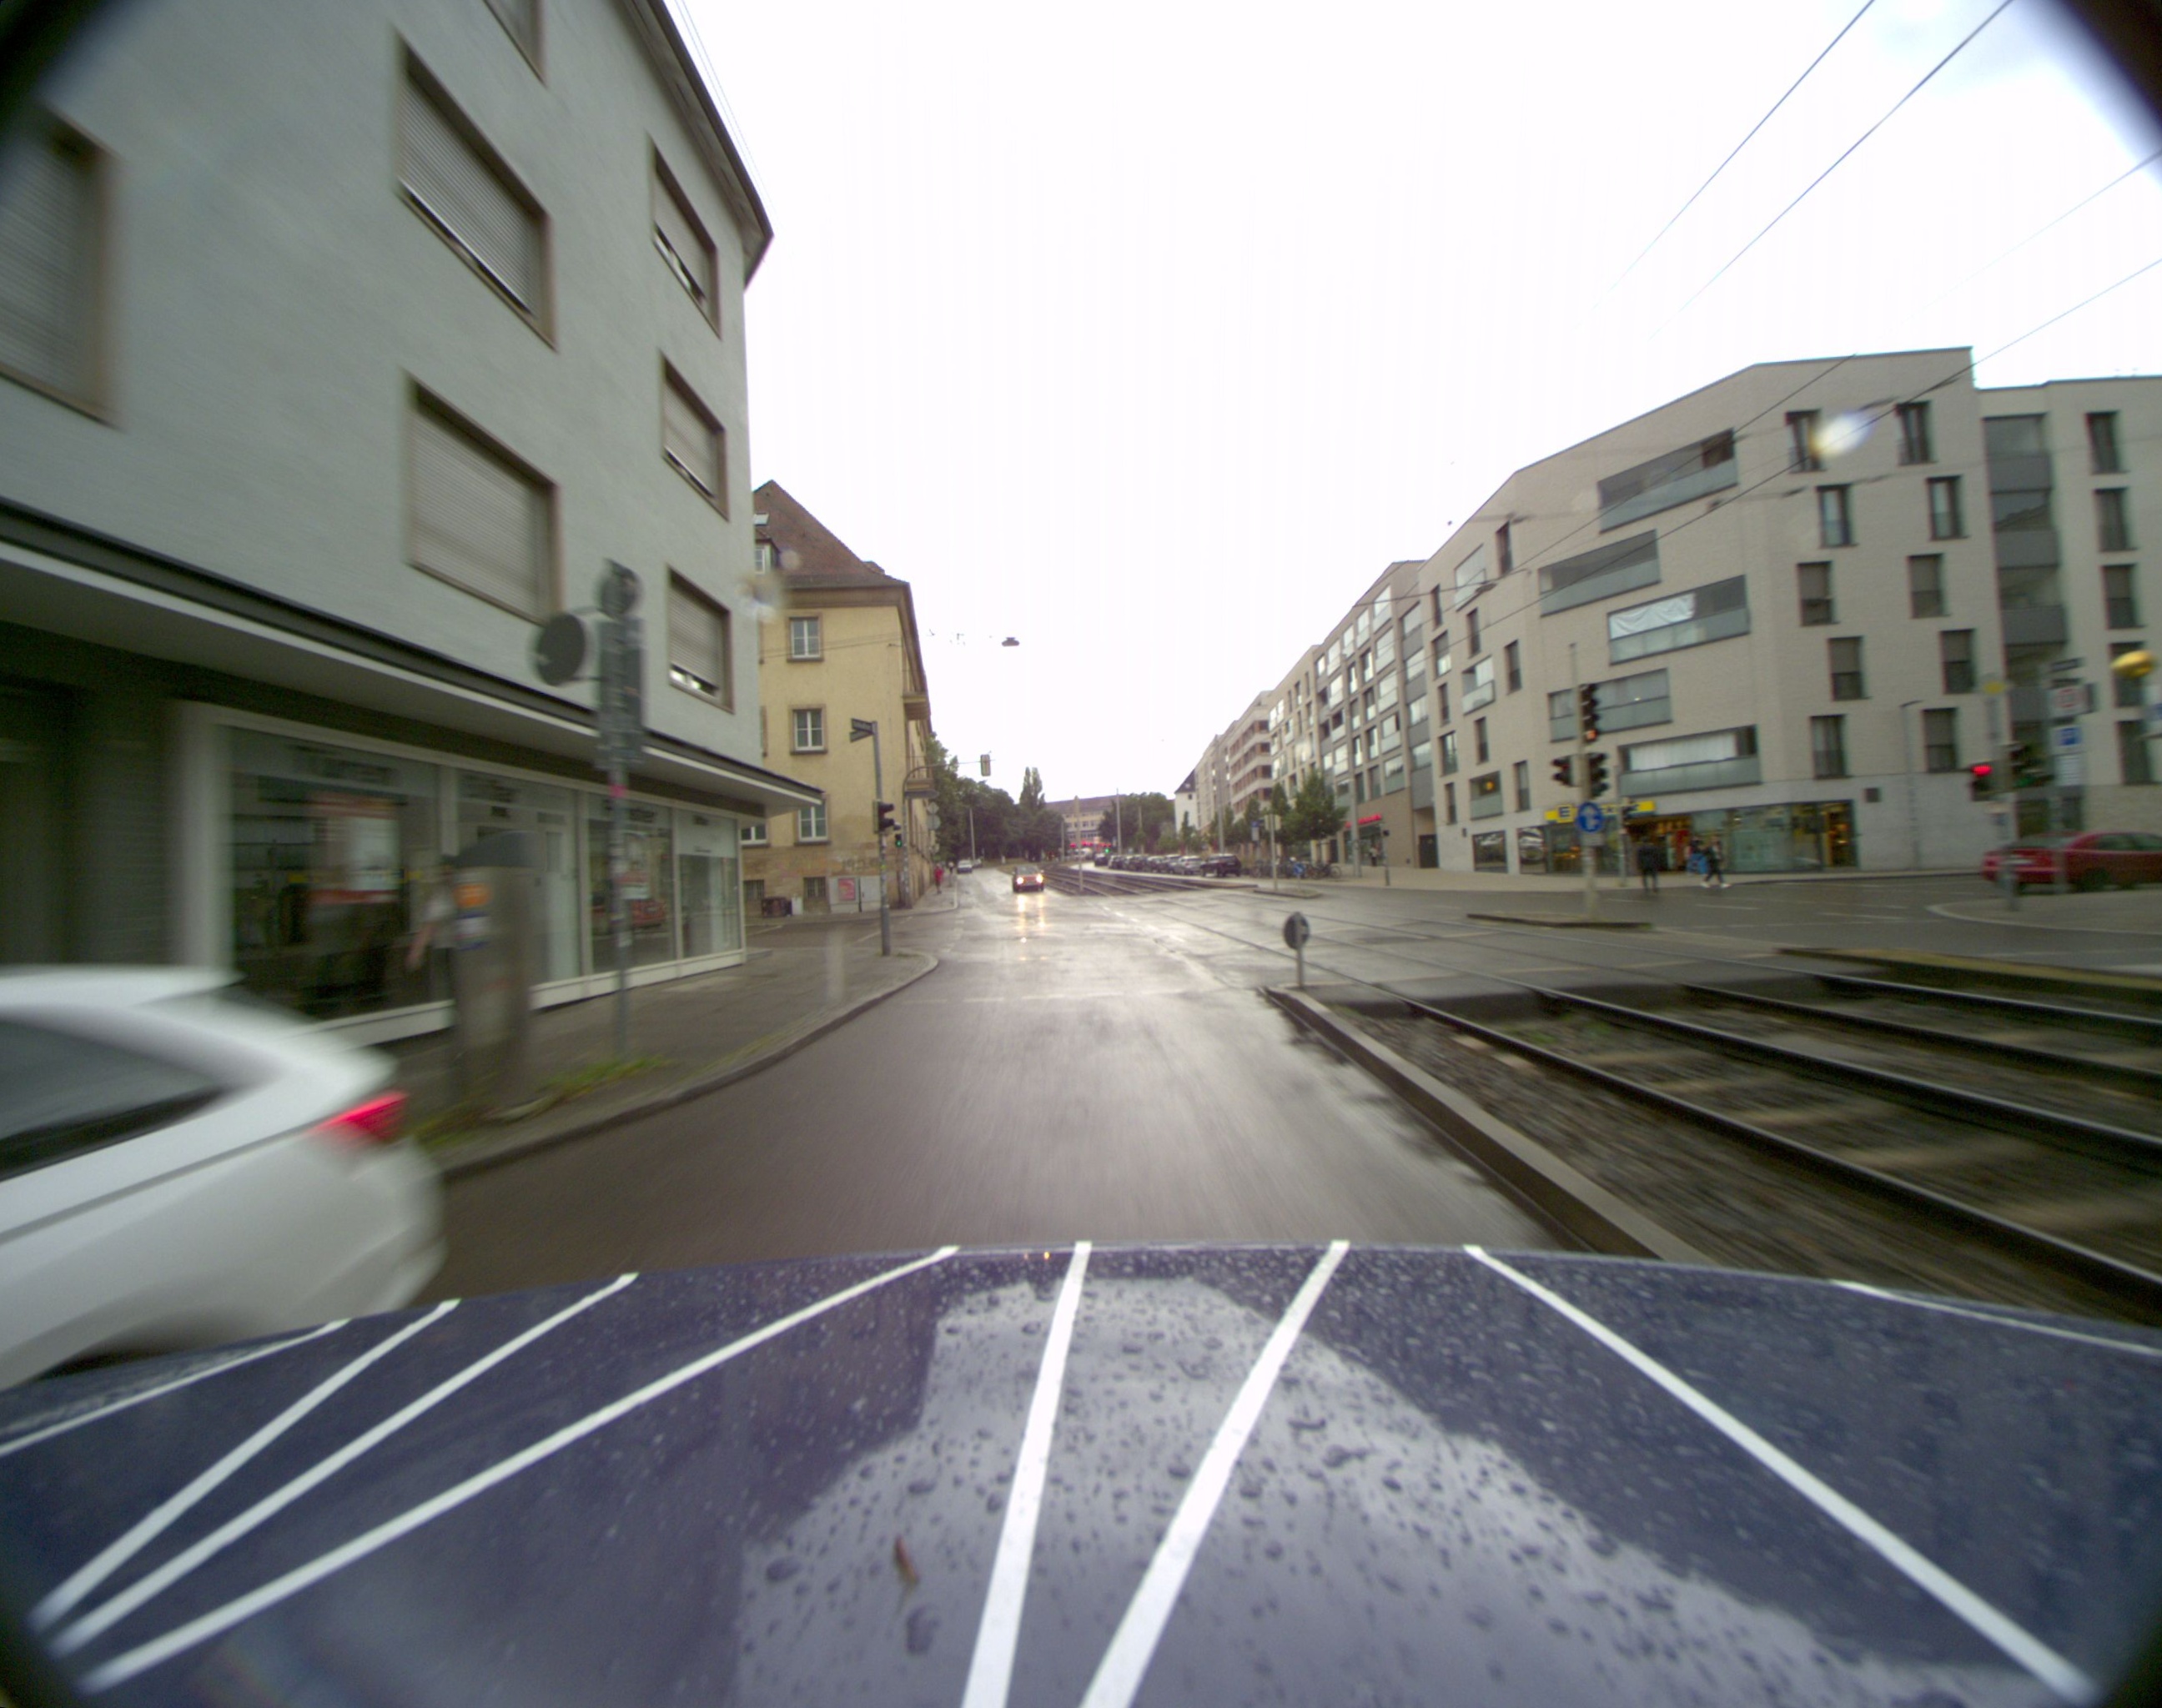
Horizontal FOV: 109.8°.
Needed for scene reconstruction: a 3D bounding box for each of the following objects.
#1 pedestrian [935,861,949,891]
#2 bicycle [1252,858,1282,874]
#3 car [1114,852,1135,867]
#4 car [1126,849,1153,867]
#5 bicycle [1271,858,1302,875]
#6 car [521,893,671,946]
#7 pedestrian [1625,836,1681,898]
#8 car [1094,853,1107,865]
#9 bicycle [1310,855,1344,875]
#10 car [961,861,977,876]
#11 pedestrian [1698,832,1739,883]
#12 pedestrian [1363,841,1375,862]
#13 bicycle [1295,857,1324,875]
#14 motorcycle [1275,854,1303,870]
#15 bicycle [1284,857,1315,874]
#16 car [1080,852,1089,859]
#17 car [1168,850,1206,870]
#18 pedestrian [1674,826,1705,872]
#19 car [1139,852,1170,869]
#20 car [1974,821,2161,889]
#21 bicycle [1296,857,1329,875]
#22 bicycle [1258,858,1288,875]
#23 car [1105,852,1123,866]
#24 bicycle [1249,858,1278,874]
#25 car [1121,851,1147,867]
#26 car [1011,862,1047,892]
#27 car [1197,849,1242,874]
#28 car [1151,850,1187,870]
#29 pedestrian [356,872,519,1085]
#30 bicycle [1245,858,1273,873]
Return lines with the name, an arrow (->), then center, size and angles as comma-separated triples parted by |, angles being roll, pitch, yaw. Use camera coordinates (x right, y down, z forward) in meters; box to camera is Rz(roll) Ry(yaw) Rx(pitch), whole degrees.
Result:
pedestrian -> -8.167, 1.293, 44.720 | 0.749, 1.754, 0.818 | 1, 1, -10
bicycle -> 11.759, 0.759, 48.020 | 1.790, 0.912, 0.387 | -3, 1, -13
car -> 4.776, 0.547, 84.571 | 1.685, 1.496, 4.402 | -4, 1, -5
car -> 5.725, 0.389, 75.066 | 1.685, 1.554, 3.925 | -4, 1, -10
bicycle -> 12.398, 0.750, 45.922 | 1.790, 0.912, 0.387 | -4, 1, -13
car -> -16.112, 2.174, 25.373 | 3.858, 1.510, 1.765 | -1, 2, 3
pedestrian -> 17.433, 0.377, 23.169 | 0.933, 1.819, 0.959 | -2, 1, -7
car -> 2.769, 0.718, 109.246 | 1.655, 1.456, 3.669 | -5, 1, 0
bicycle -> 13.710, 0.617, 42.392 | 1.790, 0.975, 0.440 | -4, 1, -13
car -> -14.534, 1.868, 98.374 | 1.727, 1.676, 3.862 | -5, 1, -10
pedestrian -> 20.230, 0.115, 24.114 | 0.649, 1.560, 0.775 | -6, 2, -36
pedestrian -> 20.913, -0.193, 55.150 | 0.540, 1.441, 0.803 | -5, 2, 3
bicycle -> 13.279, 0.671, 44.155 | 1.791, 0.912, 0.386 | -4, 1, -26
motorcycle -> 13.973, 0.537, 51.107 | 1.765, 1.037, 0.542 | -2, 2, -12
bicycle -> 12.967, 0.668, 45.077 | 1.790, 0.912, 0.387 | -3, 1, -17
car -> 0.830, 0.336, 186.662 | 1.667, 1.598, 3.809 | -5, 1, 6
car -> 8.408, 0.440, 60.440 | 1.685, 1.456, 4.325 | -4, 1, -10
pedestrian -> 23.267, -0.190, 29.059 | 0.706, 1.701, 0.584 | -4, 1, -23
car -> 6.734, 0.587, 69.943 | 1.685, 1.373, 4.029 | -4, 1, -10
car -> 23.240, -0.004, 17.368 | 3.702, 1.310, 1.594 | -3, 1, 2
bicycle -> 13.256, 0.695, 43.490 | 1.789, 0.871, 0.387 | -4, 1, -11
bicycle -> 11.922, 0.758, 47.194 | 1.790, 0.912, 0.387 | -3, 1, -13
car -> 3.912, 0.603, 89.875 | 1.651, 1.496, 3.779 | -4, 1, -4
bicycle -> 11.833, 0.770, 49.259 | 1.790, 0.912, 0.387 | -3, 1, -13
car -> 5.499, 0.541, 79.597 | 1.685, 1.496, 3.925 | -4, 1, -10
car -> -3.072, 1.296, 44.354 | 1.595, 1.456, 3.666 | -5, 1, -10
car -> 9.787, 0.474, 53.926 | 1.685, 1.594, 4.325 | -4, 1, -10
car -> 7.580, 0.495, 65.489 | 1.686, 1.521, 4.045 | -4, 1, -14
pedestrian -> -5.097, 0.941, 6.074 | 0.690, 1.562, 0.762 | -1, -2, -10
bicycle -> 11.749, 0.756, 50.123 | 1.790, 0.912, 0.387 | -4, 1, -13
